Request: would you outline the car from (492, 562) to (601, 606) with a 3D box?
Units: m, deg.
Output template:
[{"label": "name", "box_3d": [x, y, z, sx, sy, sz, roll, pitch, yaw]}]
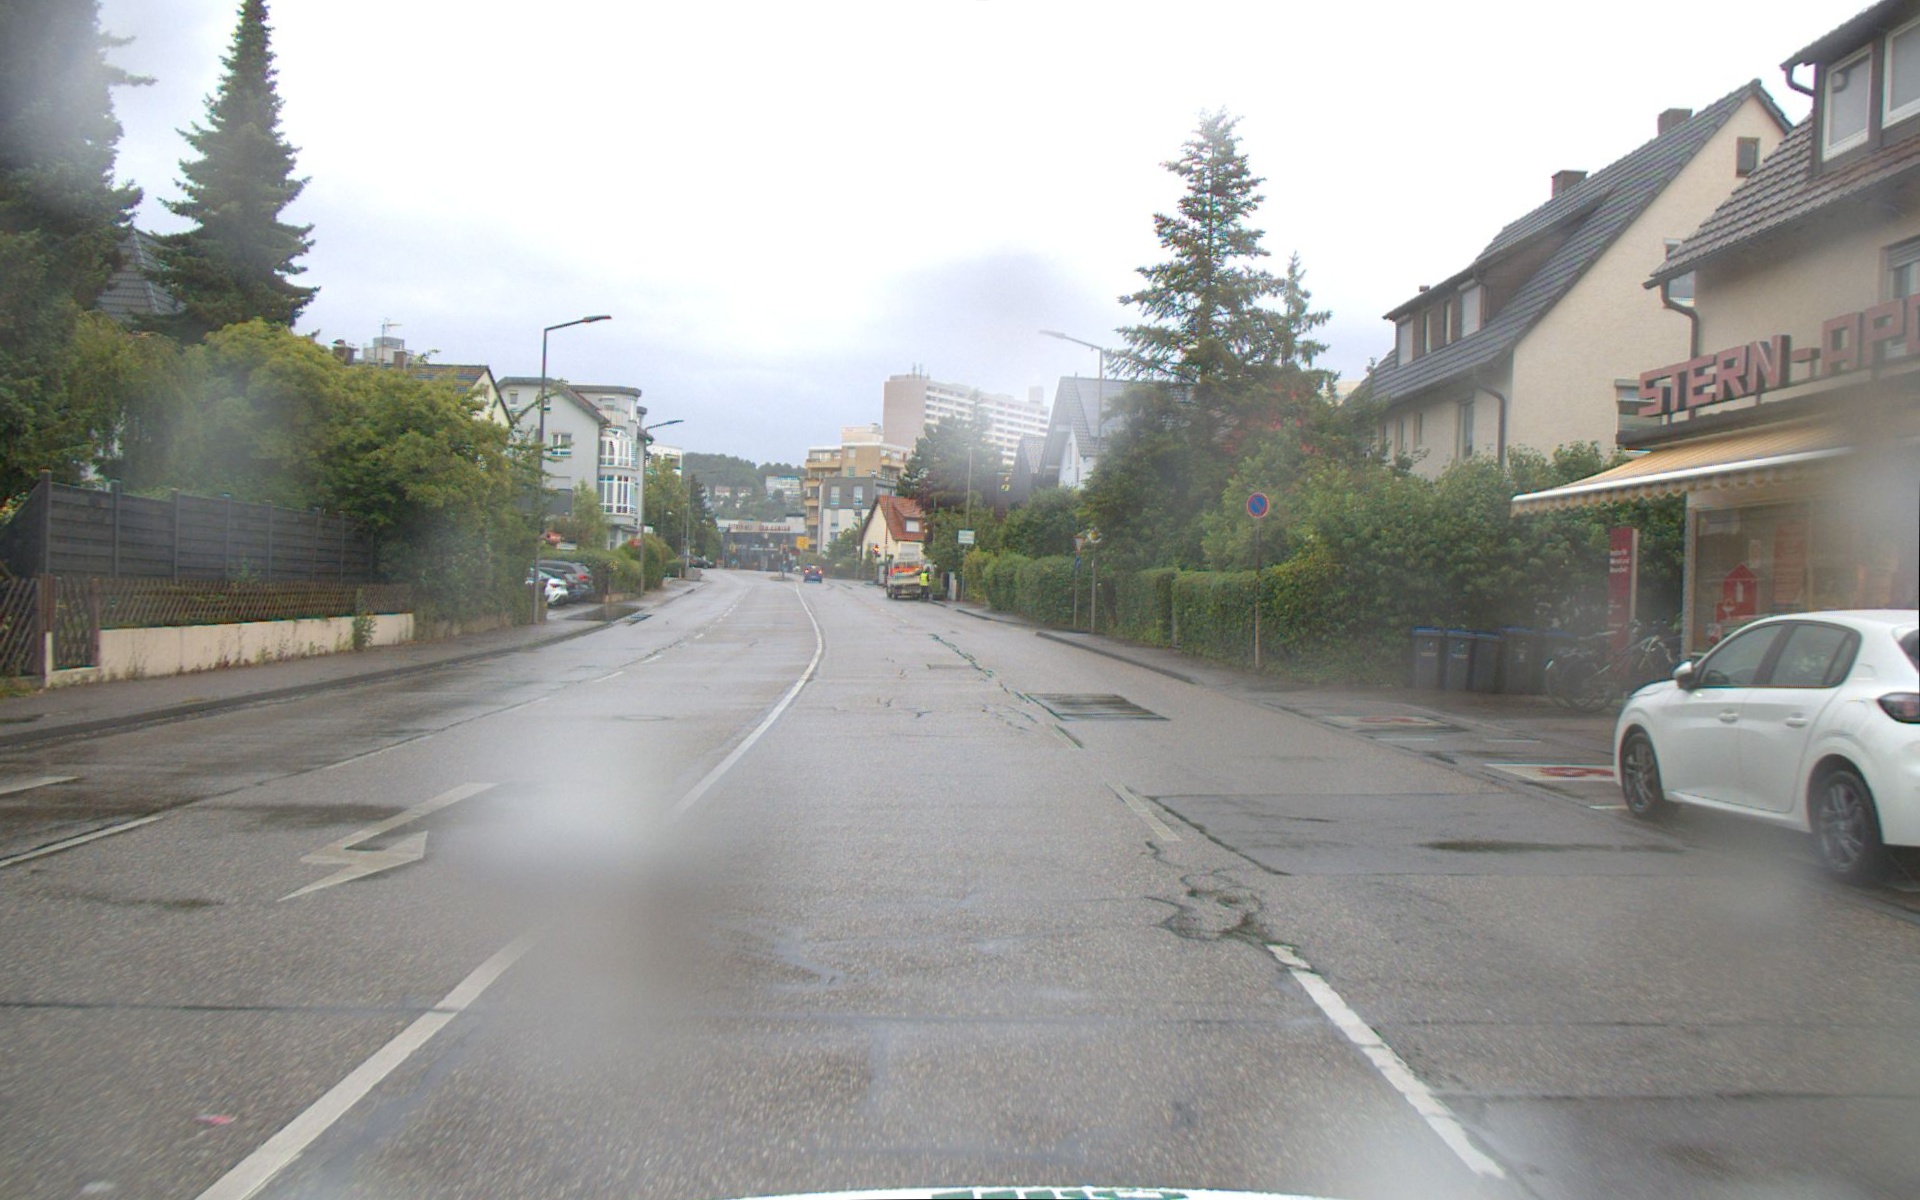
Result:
[{"label": "car", "box_3d": [-16.912, -0.670, 67.694, 3.902, 1.716, 1.810, 1, 0, 12]}]

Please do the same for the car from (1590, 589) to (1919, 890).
[{"label": "car", "box_3d": [5.580, 0.672, 10.161, 1.778, 1.473, 4.203, 0, 0, -1]}]

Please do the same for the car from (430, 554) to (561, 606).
[{"label": "car", "box_3d": [-16.518, -0.721, 58.949, 4.016, 1.612, 1.956, 3, 0, -1]}]

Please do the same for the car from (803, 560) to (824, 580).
[{"label": "car", "box_3d": [-12.860, -2.616, 145.651, 1.759, 1.699, 3.997, 1, 0, -4]}]

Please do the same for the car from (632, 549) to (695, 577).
[{"label": "car", "box_3d": [-23.793, -2.976, 132.838, 4.426, 2.048, 2.002, 3, 1, 8]}]

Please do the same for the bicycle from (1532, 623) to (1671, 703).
[{"label": "bicycle", "box_3d": [8.300, 0.820, 21.456, 1.611, 0.950, 0.623, -3, -1, 18]}]

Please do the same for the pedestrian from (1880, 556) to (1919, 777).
[{"label": "pedestrian", "box_3d": [7.634, 0.518, 12.987, 0.546, 1.708, 0.510, 1, 0, -38]}]

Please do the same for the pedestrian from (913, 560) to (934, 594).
[{"label": "pedestrian", "box_3d": [-1.940, -1.212, 87.131, 0.812, 1.756, 0.835, 1, 1, -23]}]

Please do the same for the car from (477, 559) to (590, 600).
[{"label": "car", "box_3d": [-16.540, -0.794, 64.209, 3.904, 1.471, 1.706, 1, 0, 1]}]

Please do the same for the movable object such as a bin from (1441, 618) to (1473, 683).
[{"label": "movable object such as a bin", "box_3d": [7.829, 0.787, 26.055, 0.359, 1.004, 0.355, 1, 0, -4]}]

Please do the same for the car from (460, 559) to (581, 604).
[{"label": "car", "box_3d": [-16.354, -0.696, 61.685, 3.905, 1.459, 1.971, 3, 1, 0]}]

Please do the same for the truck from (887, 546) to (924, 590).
[{"label": "truck", "box_3d": [-2.988, -1.758, 90.877, 1.953, 2.343, 3.999, 1, 1, -2]}]

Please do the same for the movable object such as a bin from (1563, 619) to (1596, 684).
[{"label": "movable object such as a bin", "box_3d": [9.810, 0.812, 26.184, 0.359, 1.004, 0.355, 1, 0, -4]}]

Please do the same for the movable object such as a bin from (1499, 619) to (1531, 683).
[{"label": "movable object such as a bin", "box_3d": [8.761, 0.803, 26.125, 0.359, 1.004, 0.355, 1, 0, -4]}]

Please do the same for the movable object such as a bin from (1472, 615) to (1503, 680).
[{"label": "movable object such as a bin", "box_3d": [8.328, 0.753, 26.116, 0.359, 1.004, 0.355, 1, 0, -4]}]

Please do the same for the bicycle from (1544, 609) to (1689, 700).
[{"label": "bicycle", "box_3d": [8.236, 0.683, 20.814, 1.611, 1.066, 0.623, -3, -1, 18]}]

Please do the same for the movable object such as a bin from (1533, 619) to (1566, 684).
[{"label": "movable object such as a bin", "box_3d": [9.325, 0.814, 26.174, 0.359, 1.004, 0.355, 1, 0, -4]}]

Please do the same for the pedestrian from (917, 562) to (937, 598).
[{"label": "pedestrian", "box_3d": [-1.729, -1.034, 86.289, 0.812, 1.828, 0.794, 1, 1, -24]}]
